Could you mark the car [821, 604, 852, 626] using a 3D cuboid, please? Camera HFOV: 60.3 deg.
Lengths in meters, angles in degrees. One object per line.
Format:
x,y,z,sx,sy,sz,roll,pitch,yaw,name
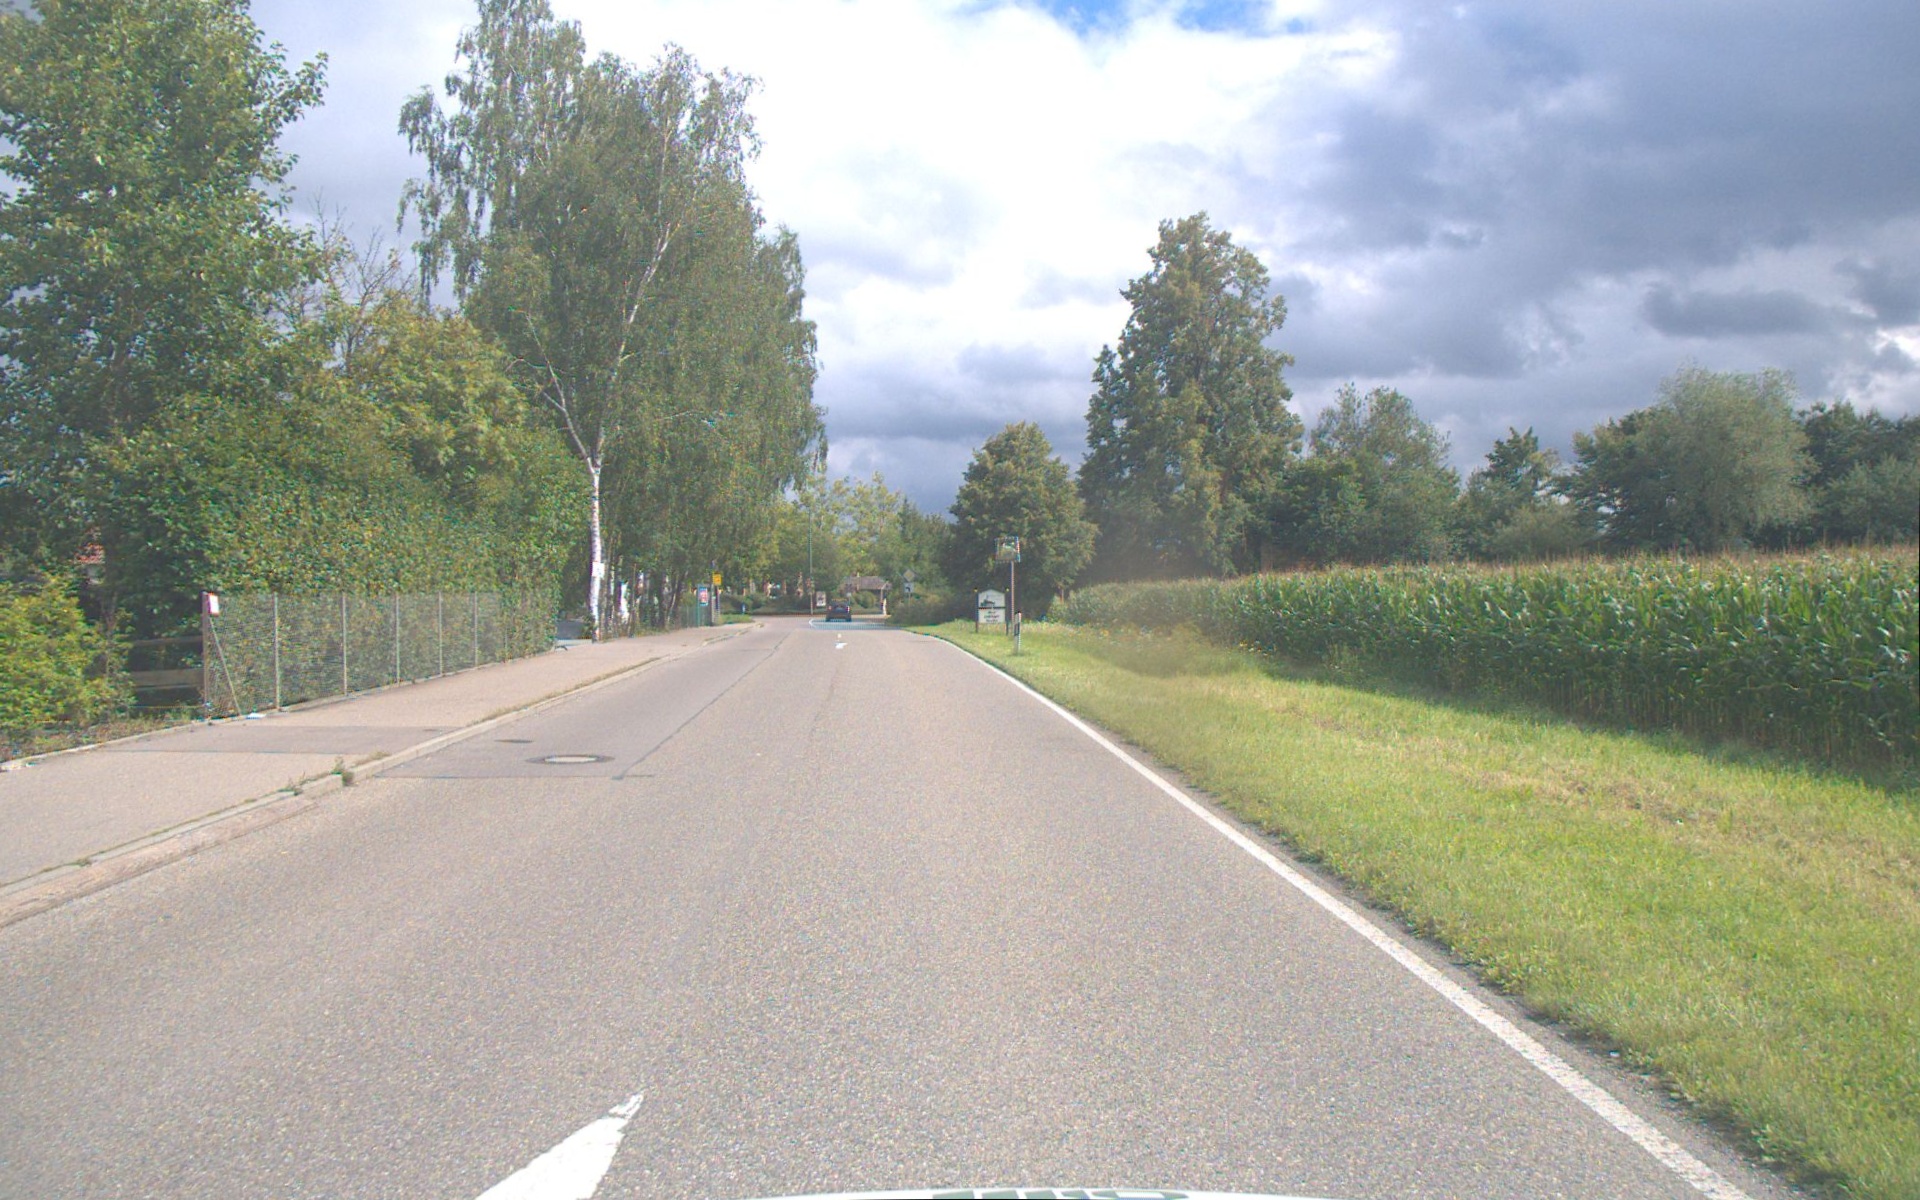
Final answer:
-9.309,1.141,124.831,1.957,1.612,3.991,0,0,-10,car
